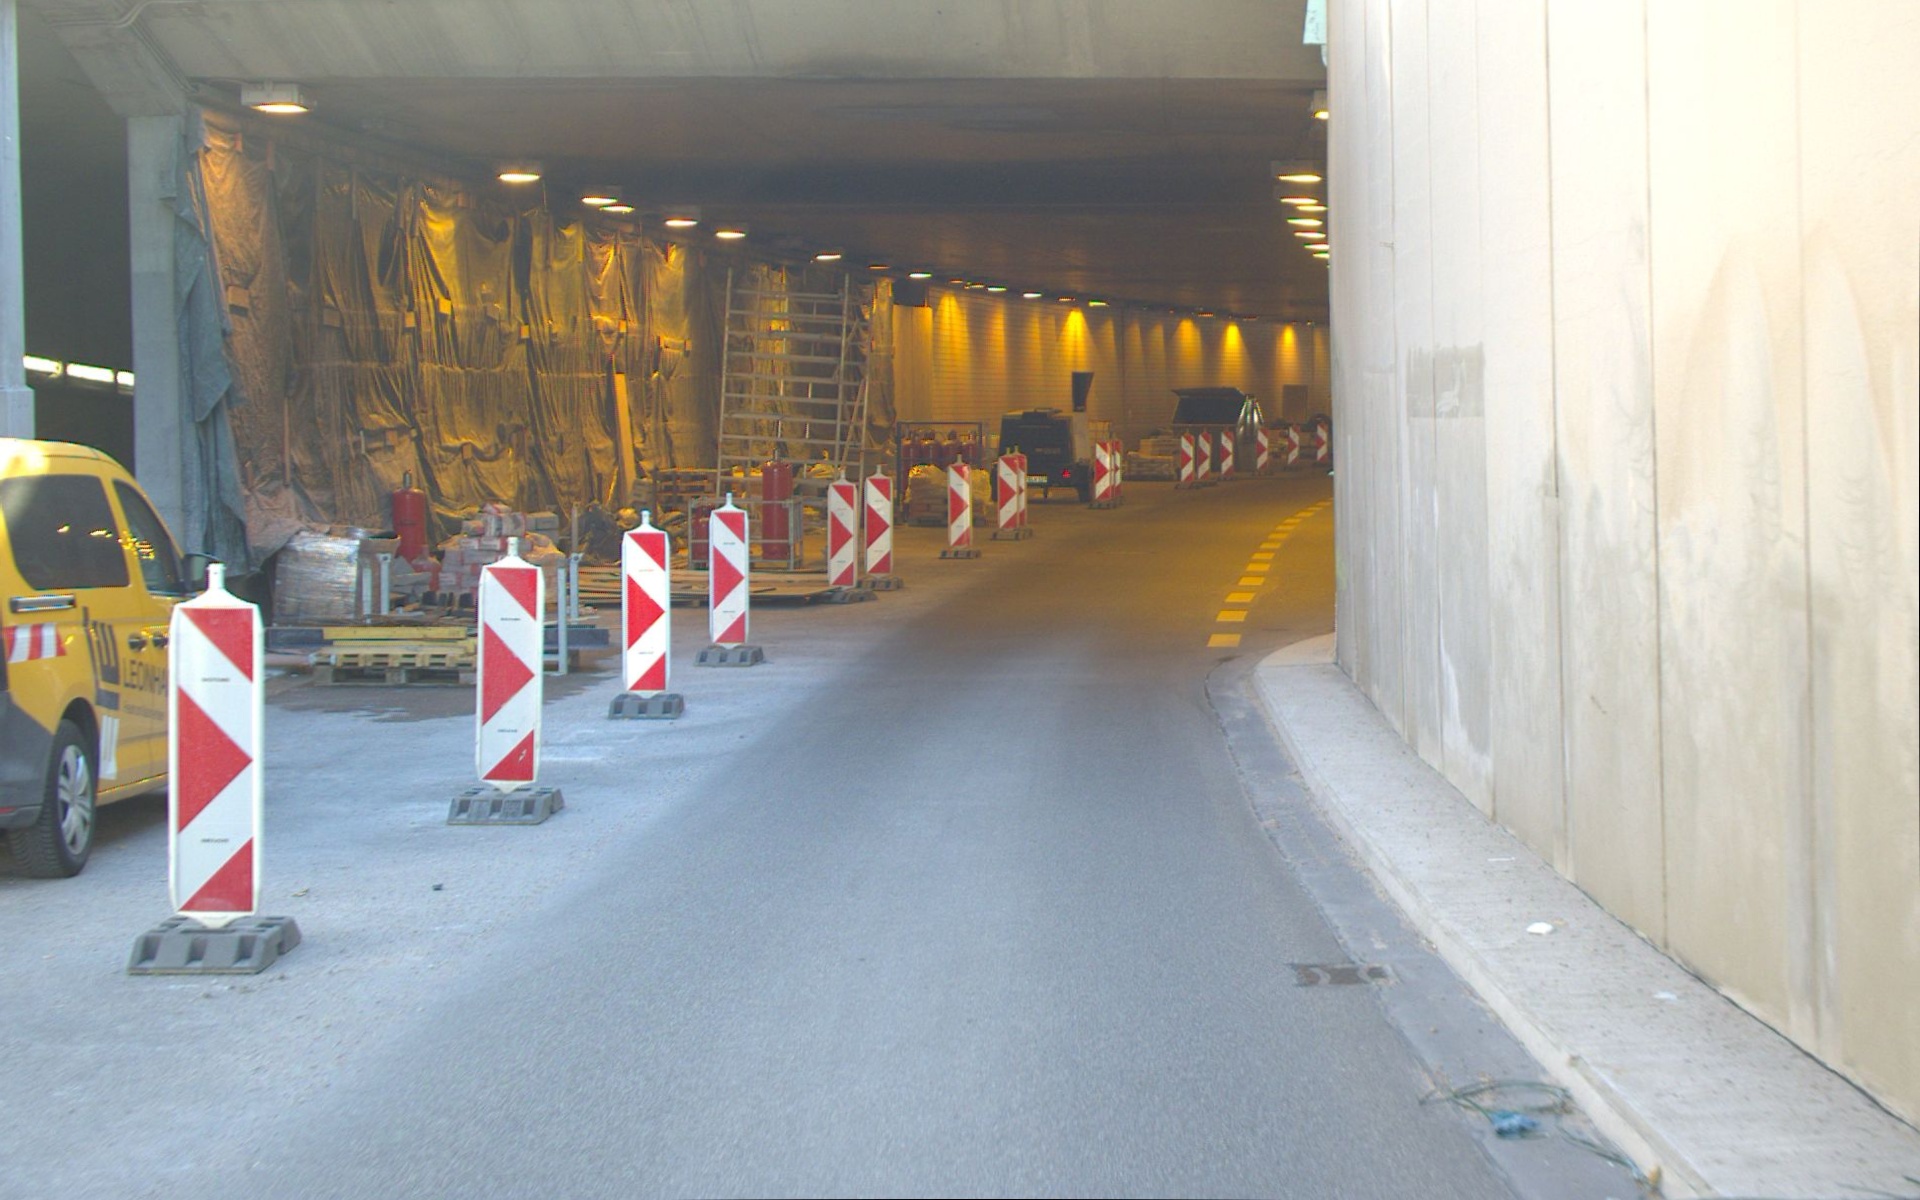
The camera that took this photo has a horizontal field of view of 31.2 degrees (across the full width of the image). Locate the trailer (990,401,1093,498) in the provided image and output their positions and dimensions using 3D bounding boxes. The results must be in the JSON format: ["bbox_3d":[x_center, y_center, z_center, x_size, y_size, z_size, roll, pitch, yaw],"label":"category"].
[{"bbox_3d":[1.570,-2.884,65.449,1.581,1.791,2.939,1,3,9],"label":"trailer"}]

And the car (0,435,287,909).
[{"bbox_3d":[-4.374,0.168,15.050,1.848,1.769,4.435,0,3,2],"label":"car"}]
